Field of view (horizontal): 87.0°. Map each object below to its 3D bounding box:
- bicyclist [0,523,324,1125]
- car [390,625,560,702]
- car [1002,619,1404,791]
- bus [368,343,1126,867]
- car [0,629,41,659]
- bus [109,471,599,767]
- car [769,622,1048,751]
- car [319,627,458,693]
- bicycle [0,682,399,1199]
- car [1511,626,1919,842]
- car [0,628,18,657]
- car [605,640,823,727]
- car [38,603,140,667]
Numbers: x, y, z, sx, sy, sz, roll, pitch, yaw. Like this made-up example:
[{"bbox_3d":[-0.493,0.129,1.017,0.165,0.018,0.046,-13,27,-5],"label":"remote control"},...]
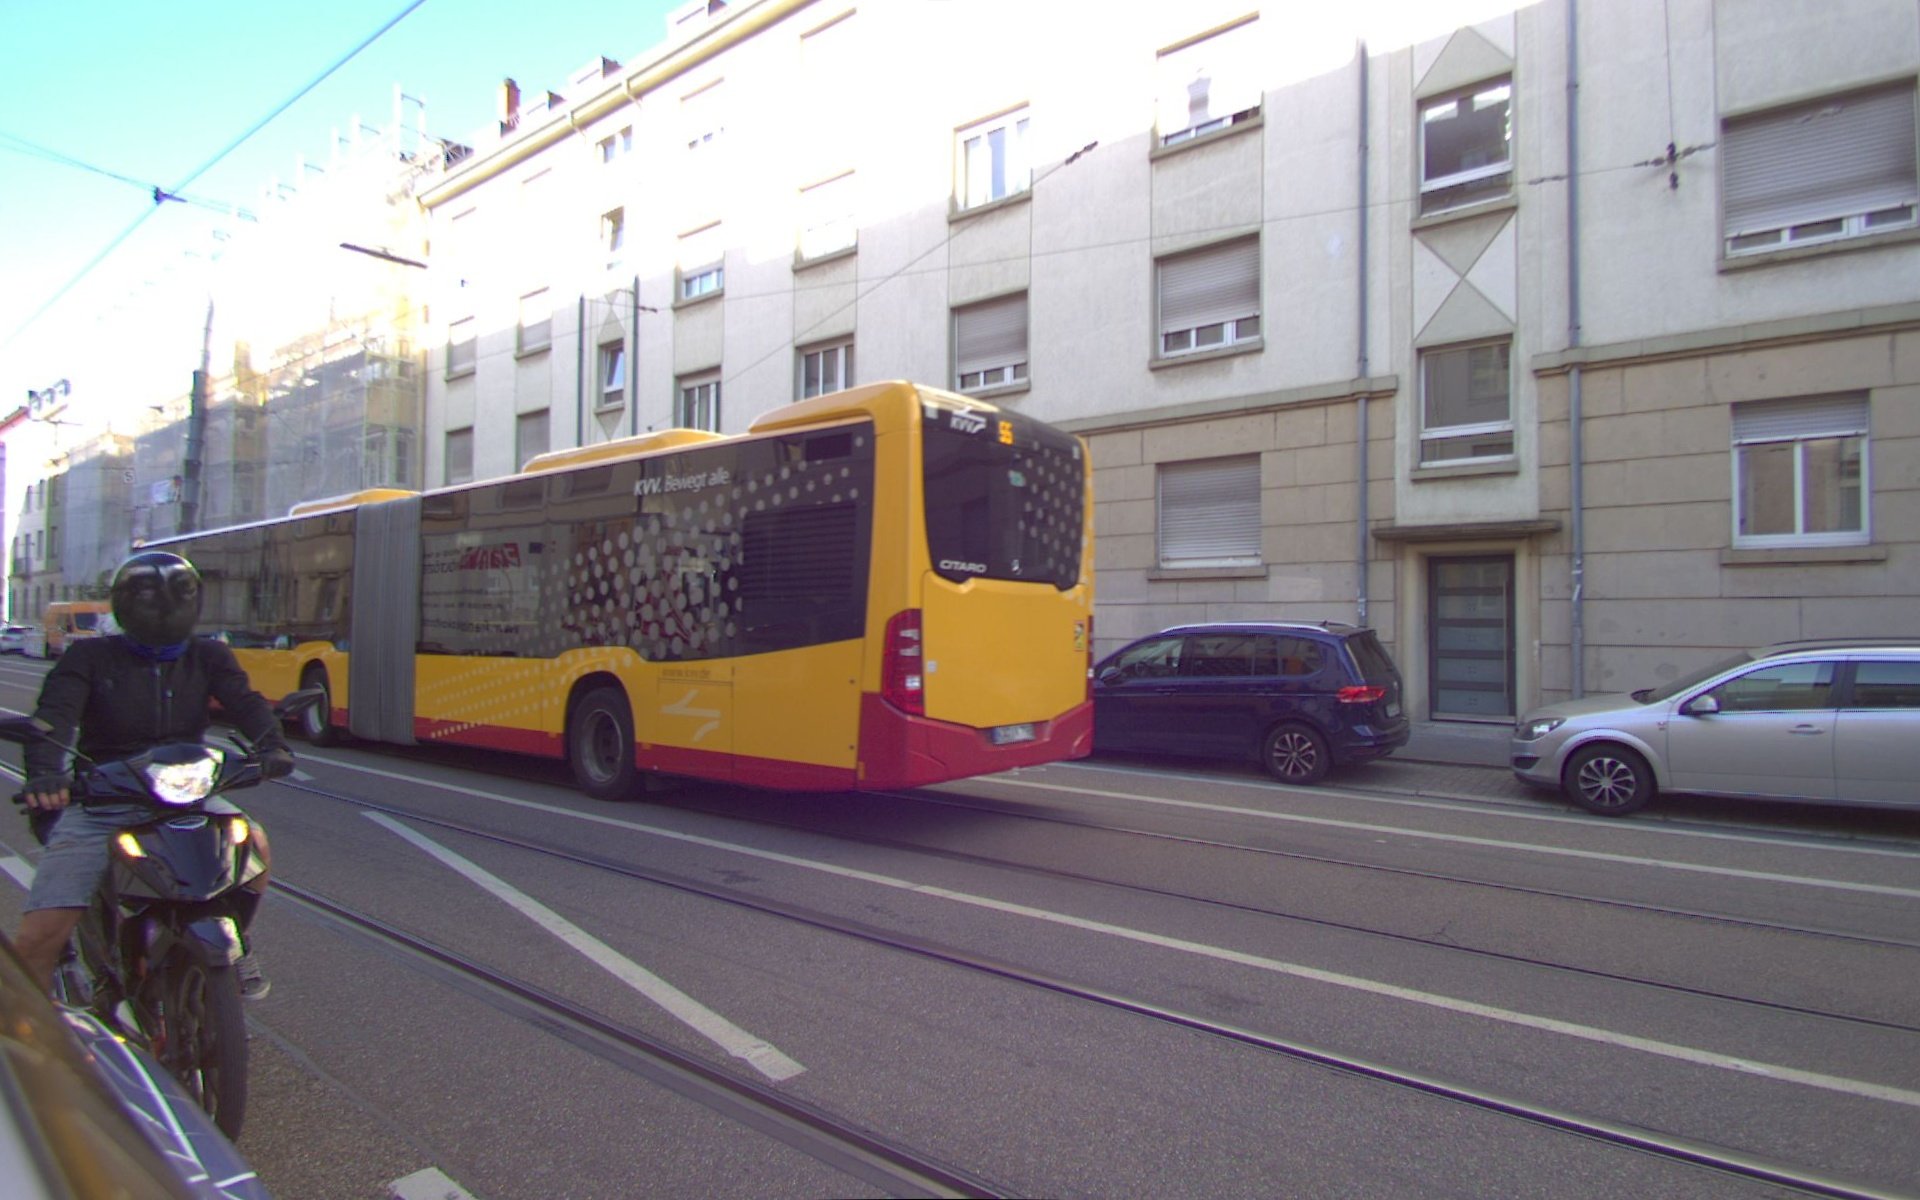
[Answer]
[{"bbox_3d":[-2.642,0.600,3.166,0.849,1.566,0.833,-1,-3,38],"label":"bicyclist"},{"bbox_3d":[-10.966,1.364,22.760,4.400,1.580,1.683,-1,-3,39],"label":"car"},{"bbox_3d":[2.712,1.051,11.756,4.235,1.627,1.684,0,0,36],"label":"car"},{"bbox_3d":[-2.444,0.126,9.545,7.565,3.186,2.712,-1,-3,37],"label":"bus"},{"bbox_3d":[-50.076,2.294,53.362,3.995,1.523,1.729,-1,-3,39],"label":"car"},{"bbox_3d":[-9.493,0.330,15.051,10.180,3.182,2.696,-1,-3,38],"label":"bus"},{"bbox_3d":[-0.842,1.148,14.853,3.995,1.581,1.683,-1,0,39],"label":"car"},{"bbox_3d":[-14.544,1.464,25.694,3.995,1.426,1.683,0,1,39],"label":"car"},{"bbox_3d":[-2.581,0.893,3.139,1.971,1.186,0.731,-1,-3,38],"label":"bicycle"},{"bbox_3d":[7.166,1.014,8.373,4.380,1.521,1.683,-1,0,38],"label":"car"},{"bbox_3d":[-54.811,2.412,57.137,4.216,1.590,1.682,-1,-1,37],"label":"car"},{"bbox_3d":[-4.328,1.371,17.566,3.779,1.225,1.684,0,0,37],"label":"car"},{"bbox_3d":[-36.312,1.459,42.136,5.993,2.488,2.099,-1,-3,39],"label":"car"}]
